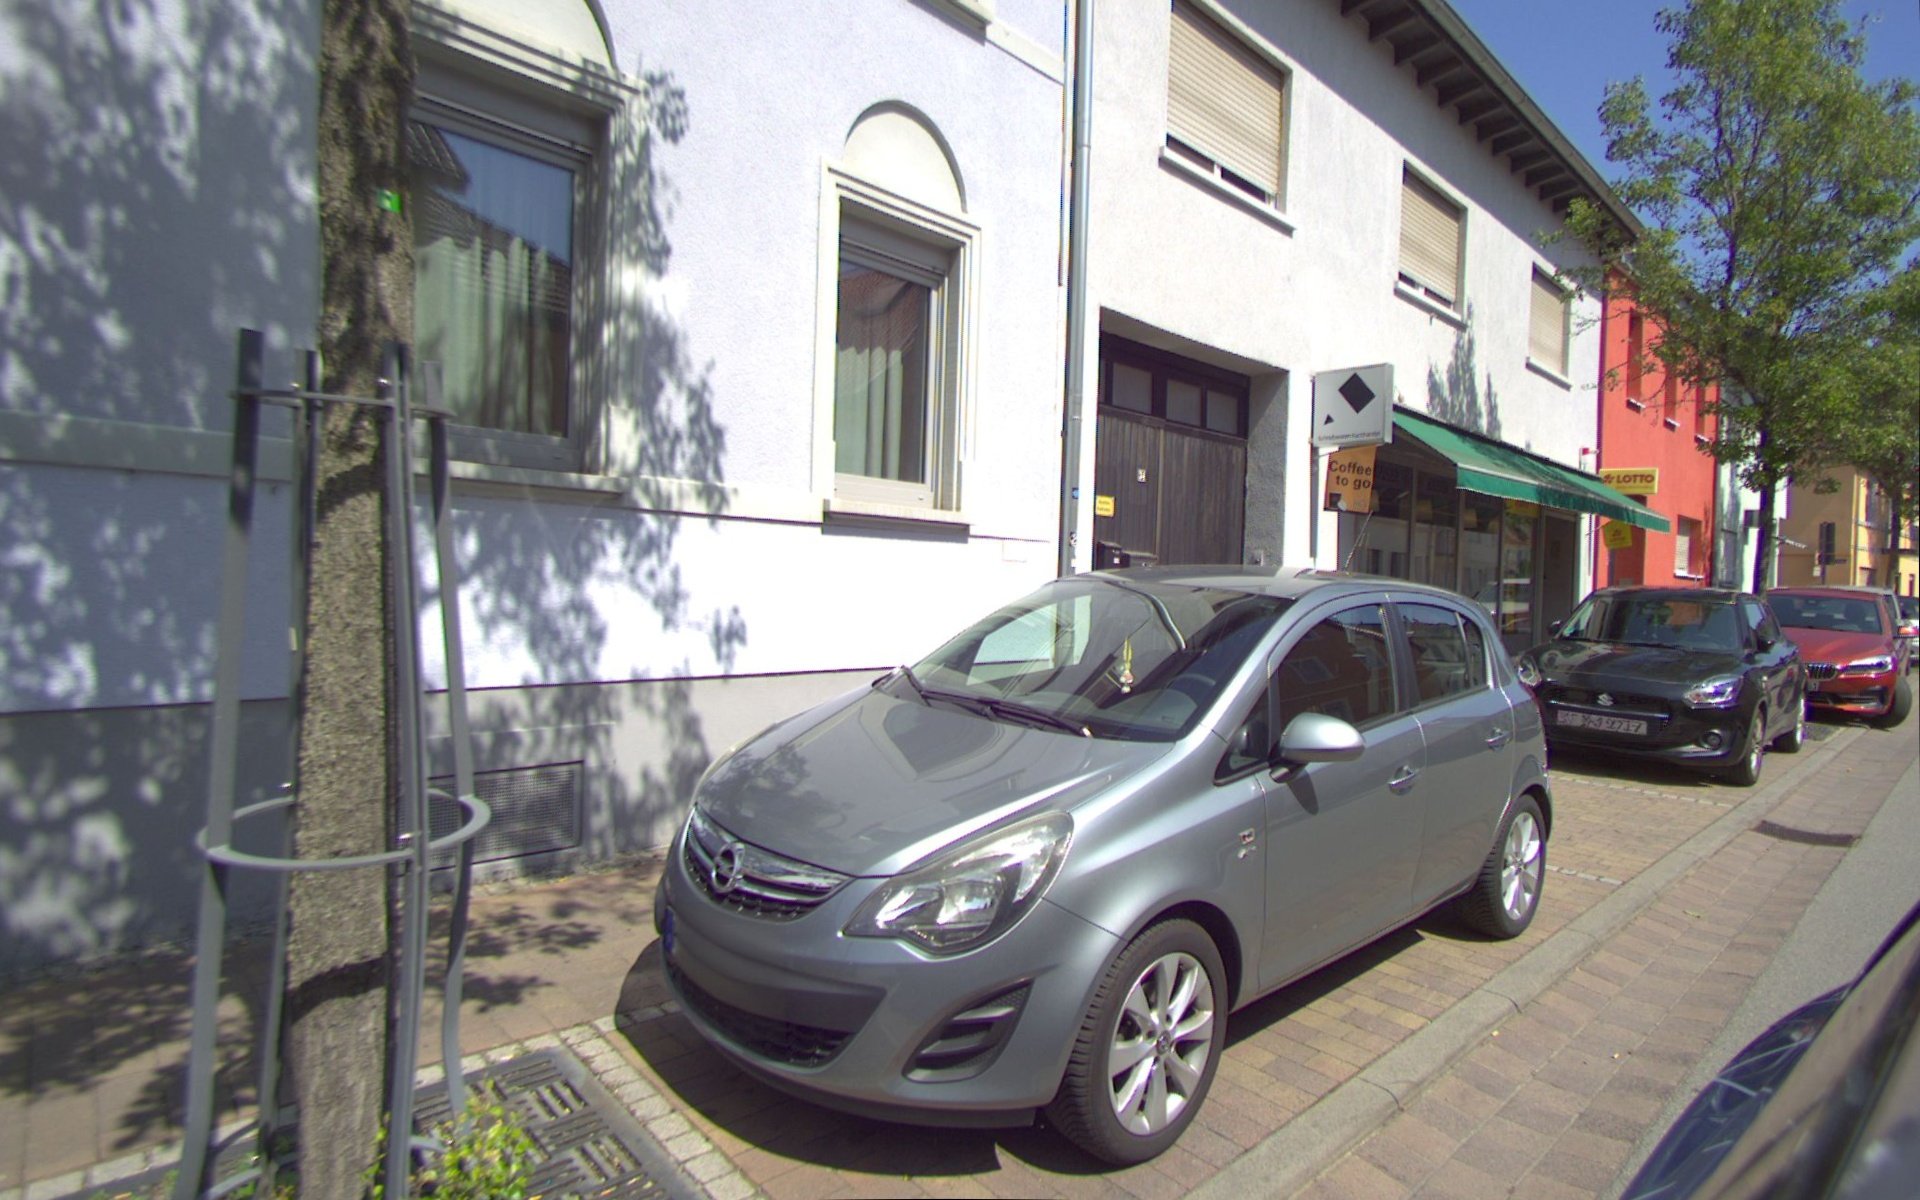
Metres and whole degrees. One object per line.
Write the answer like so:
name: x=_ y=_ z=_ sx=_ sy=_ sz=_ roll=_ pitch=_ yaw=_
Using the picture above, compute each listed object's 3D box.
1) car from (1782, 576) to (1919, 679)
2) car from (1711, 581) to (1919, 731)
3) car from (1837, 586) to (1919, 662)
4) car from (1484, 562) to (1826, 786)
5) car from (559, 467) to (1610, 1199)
car: x=16.927 y=0.416 z=18.974 sx=4.586 sy=1.705 sz=1.868 roll=-1 pitch=1 yaw=-45
car: x=11.080 y=0.568 z=12.971 sx=1.830 sy=1.608 sz=4.023 roll=1 pitch=1 yaw=44
car: x=21.420 y=0.521 z=23.075 sx=3.930 sy=1.562 sz=1.713 roll=1 pitch=2 yaw=-43
car: x=6.273 y=0.509 z=8.978 sx=3.673 sy=1.532 sz=1.739 roll=1 pitch=2 yaw=-44
car: x=0.825 y=0.456 z=3.849 sx=4.025 sy=1.499 sz=1.720 roll=0 pitch=3 yaw=-42
